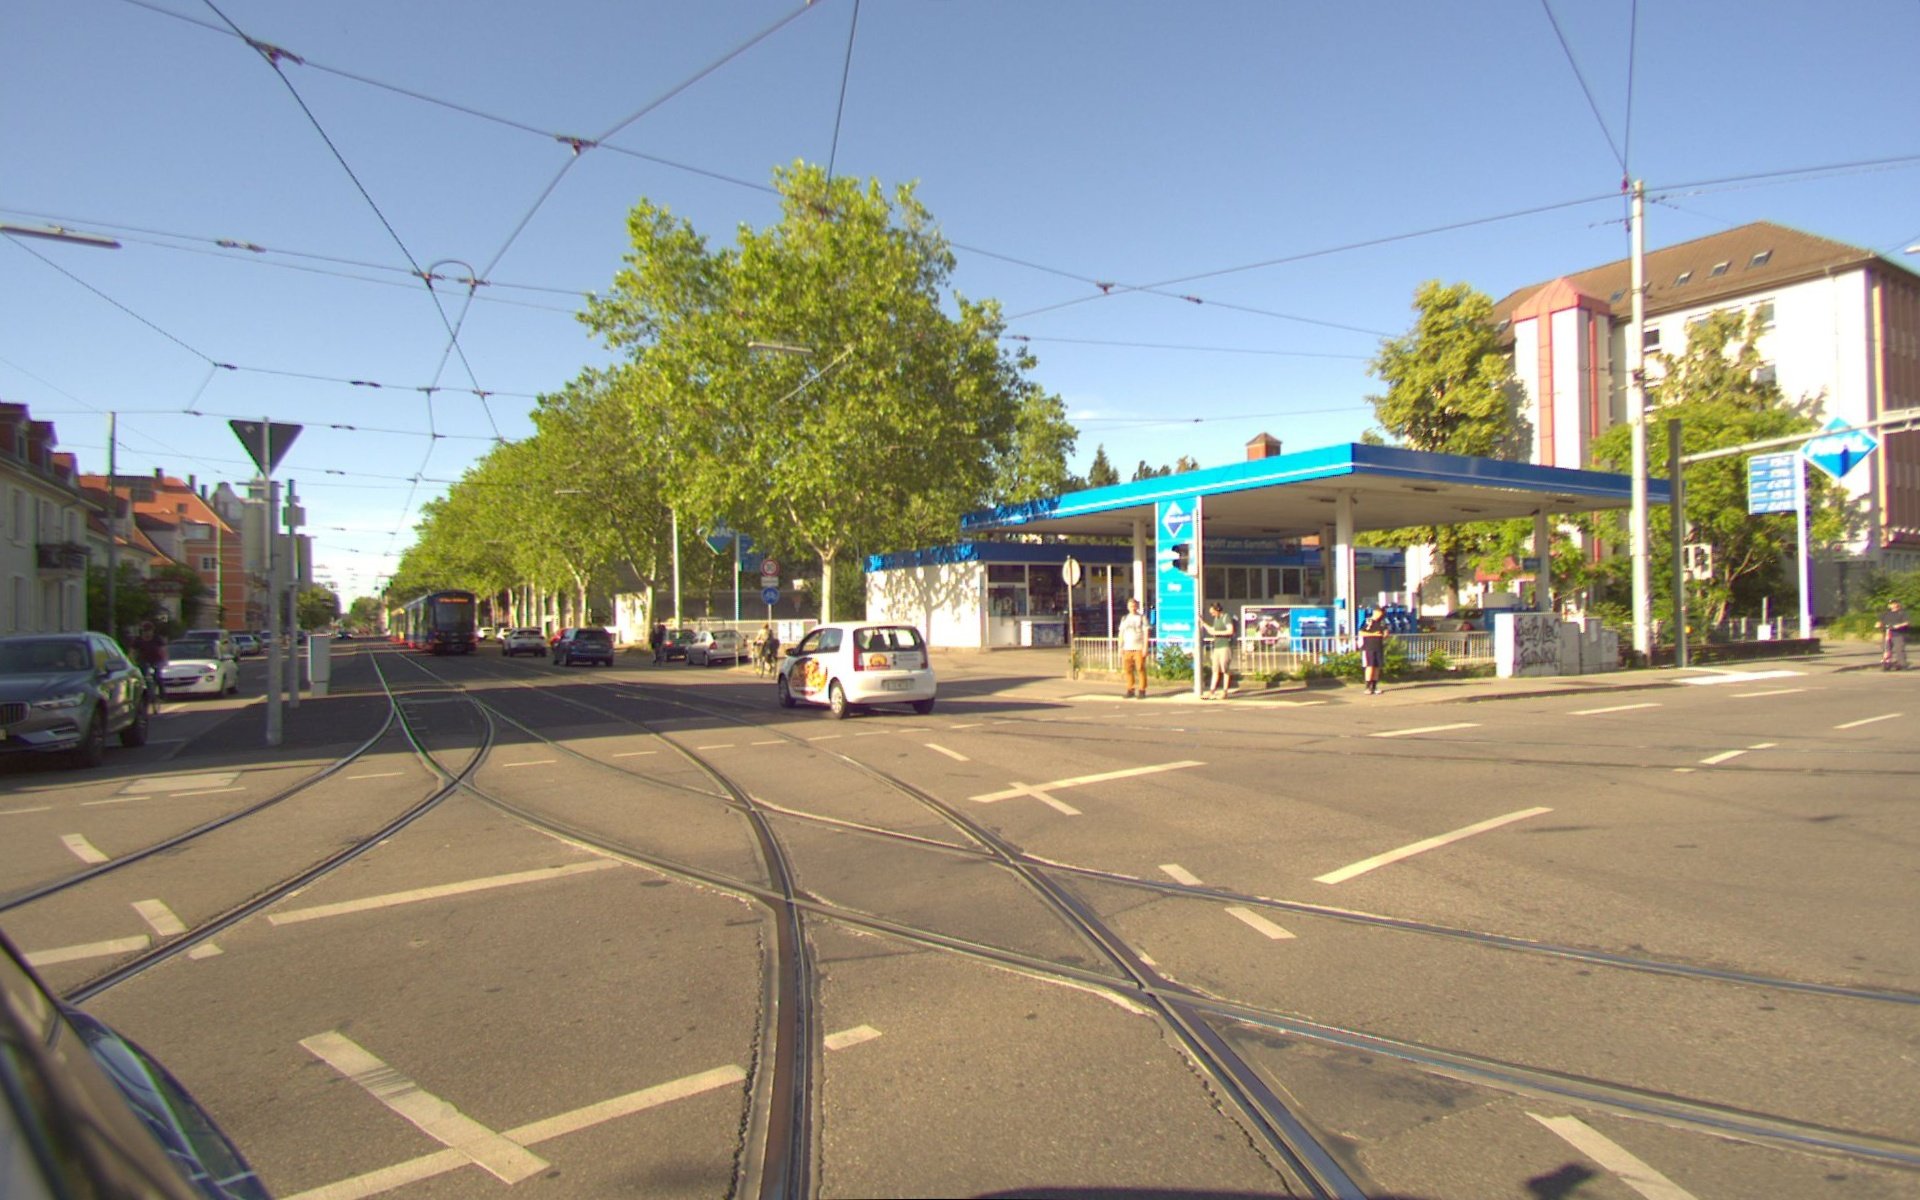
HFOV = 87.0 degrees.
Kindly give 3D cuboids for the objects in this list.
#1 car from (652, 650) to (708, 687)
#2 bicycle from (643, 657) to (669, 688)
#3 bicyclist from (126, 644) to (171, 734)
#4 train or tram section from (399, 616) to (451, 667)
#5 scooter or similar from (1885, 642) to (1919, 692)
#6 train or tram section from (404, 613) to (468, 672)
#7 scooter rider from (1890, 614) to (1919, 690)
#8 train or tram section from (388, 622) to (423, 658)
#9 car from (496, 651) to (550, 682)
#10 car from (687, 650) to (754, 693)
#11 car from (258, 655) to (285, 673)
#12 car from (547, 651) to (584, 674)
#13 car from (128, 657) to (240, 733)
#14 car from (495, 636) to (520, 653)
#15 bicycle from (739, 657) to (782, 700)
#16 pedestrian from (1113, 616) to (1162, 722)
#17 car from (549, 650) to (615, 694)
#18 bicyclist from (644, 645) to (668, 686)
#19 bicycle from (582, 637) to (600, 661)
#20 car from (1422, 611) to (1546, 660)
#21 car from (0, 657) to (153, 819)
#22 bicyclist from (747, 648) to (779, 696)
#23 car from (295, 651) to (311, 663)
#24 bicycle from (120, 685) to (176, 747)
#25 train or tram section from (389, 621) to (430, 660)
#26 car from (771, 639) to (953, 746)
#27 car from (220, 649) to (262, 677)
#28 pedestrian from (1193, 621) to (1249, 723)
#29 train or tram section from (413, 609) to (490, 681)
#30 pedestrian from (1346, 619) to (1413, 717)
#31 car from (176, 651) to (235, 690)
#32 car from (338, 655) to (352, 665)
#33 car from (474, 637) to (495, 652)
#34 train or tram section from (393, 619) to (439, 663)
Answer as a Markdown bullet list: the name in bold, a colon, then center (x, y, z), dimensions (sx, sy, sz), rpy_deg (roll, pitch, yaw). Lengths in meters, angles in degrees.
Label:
- **car**: center (-12.760, 3.082, 45.966), dimensions (1.750, 1.435, 3.321), rpy_deg (-4, 0, -27)
- **bicycle**: center (-12.088, 2.865, 40.219), dimensions (0.478, 1.175, 2.062), rpy_deg (0, -2, -31)
- **bicyclist**: center (-16.018, 1.740, 19.990), dimensions (0.590, 1.732, 0.664), rpy_deg (0, -2, -31)
- **train or tram section**: center (-41.852, 3.219, 78.949), dimensions (3.013, 3.640, 12.150), rpy_deg (0, -2, -31)
- **scooter or similar**: center (24.189, 1.690, 25.777), dimensions (1.451, 1.191, 0.466), rpy_deg (0, -2, -30)
- **train or tram section**: center (-35.541, 2.833, 68.378), dimensions (3.013, 3.640, 12.538), rpy_deg (0, -2, -31)
- **scooter rider**: center (24.175, 1.317, 25.777), dimensions (0.680, 1.915, 0.466), rpy_deg (0, -2, -30)
- **train or tram section**: center (-60.598, 4.359, 110.424), dimensions (3.013, 3.640, 12.927), rpy_deg (0, -2, -30)
- **car**: center (-22.943, 3.466, 53.083), dimensions (1.966, 1.508, 4.360), rpy_deg (3, -3, -31)
- **car**: center (-9.593, 2.805, 40.340), dimensions (1.750, 1.435, 3.549), rpy_deg (-4, 0, -27)
- **car**: center (-61.901, 5.716, 90.985), dimensions (1.851, 1.497, 4.011), rpy_deg (0, -2, -32)
- **car**: center (-27.746, 4.379, 71.072), dimensions (1.851, 1.497, 4.012), rpy_deg (0, -2, -29)
- **car**: center (-19.744, 2.343, 25.933), dimensions (1.886, 1.643, 4.515), rpy_deg (0, -2, -32)
- **car**: center (-44.663, 4.399, 99.818), dimensions (1.851, 1.563, 4.012), rpy_deg (0, -2, -29)
- **bicycle**: center (-5.867, 2.294, 29.732), dimensions (0.478, 1.175, 1.963), rpy_deg (0, -2, -35)
- **pedestrian**: center (3.337, 1.283, 19.041), dimensions (0.620, 1.940, 0.586), rpy_deg (0, -2, -31)
- **car**: center (-14.822, 2.748, 39.499), dimensions (1.749, 1.508, 4.587), rpy_deg (0, -2, -29)
- **bicyclist**: center (-12.103, 2.603, 40.293), dimensions (0.686, 1.584, 0.894), rpy_deg (0, -2, -31)
- **bicycle**: center (-18.833, 2.480, 51.597), dimensions (0.478, 1.175, 2.062), rpy_deg (0, -2, -31)
- **car**: center (17.366, 1.146, 33.512), dimensions (4.147, 1.497, 1.722), rpy_deg (0, -2, -31)
- **car**: center (-11.699, 1.600, 12.684), dimensions (1.886, 1.643, 4.516), rpy_deg (0, -2, -31)
- **bicyclist**: center (-5.780, 2.096, 29.623), dimensions (0.595, 1.350, 0.900), rpy_deg (0, -2, -35)
- **car**: center (-93.957, 8.147, 144.742), dimensions (1.851, 1.497, 4.011), rpy_deg (0, -2, -32)
- **bicycle**: center (-16.002, 2.255, 19.982), dimensions (0.590, 1.064, 1.996), rpy_deg (0, -2, -31)
- **train or tram section**: center (-54.318, 3.967, 99.694), dimensions (3.013, 3.640, 11.984), rpy_deg (0, -2, -31)
- **car**: center (-1.719, 1.408, 16.639), dimensions (1.694, 1.508, 3.595), rpy_deg (0, -2, -28)
- **car**: center (-50.179, 4.379, 70.678), dimensions (1.901, 1.773, 5.329), rpy_deg (0, -2, -30)
- **pedestrian**: center (4.754, 1.295, 18.494), dimensions (0.731, 1.815, 0.742), rpy_deg (-1, -2, -6)
- **train or tram section**: center (-29.217, 2.516, 57.820), dimensions (3.013, 3.640, 12.150), rpy_deg (0, -2, -31)
- **pedestrian**: center (7.803, 1.252, 18.851), dimensions (0.735, 1.742, 0.736), rpy_deg (-3, -1, -16)
- **car**: center (-40.601, 3.753, 54.562), dimensions (1.901, 1.859, 5.329), rpy_deg (0, -2, -30)
- **car**: center (-95.578, 9.330, 157.254), dimensions (1.851, 1.497, 4.011), rpy_deg (0, -2, -32)
- **car**: center (-53.820, 5.039, 114.546), dimensions (1.851, 1.563, 4.012), rpy_deg (0, -2, -29)
- **train or tram section**: center (-48.121, 3.575, 89.345), dimensions (3.013, 3.640, 12.149), rpy_deg (0, -2, -31)
